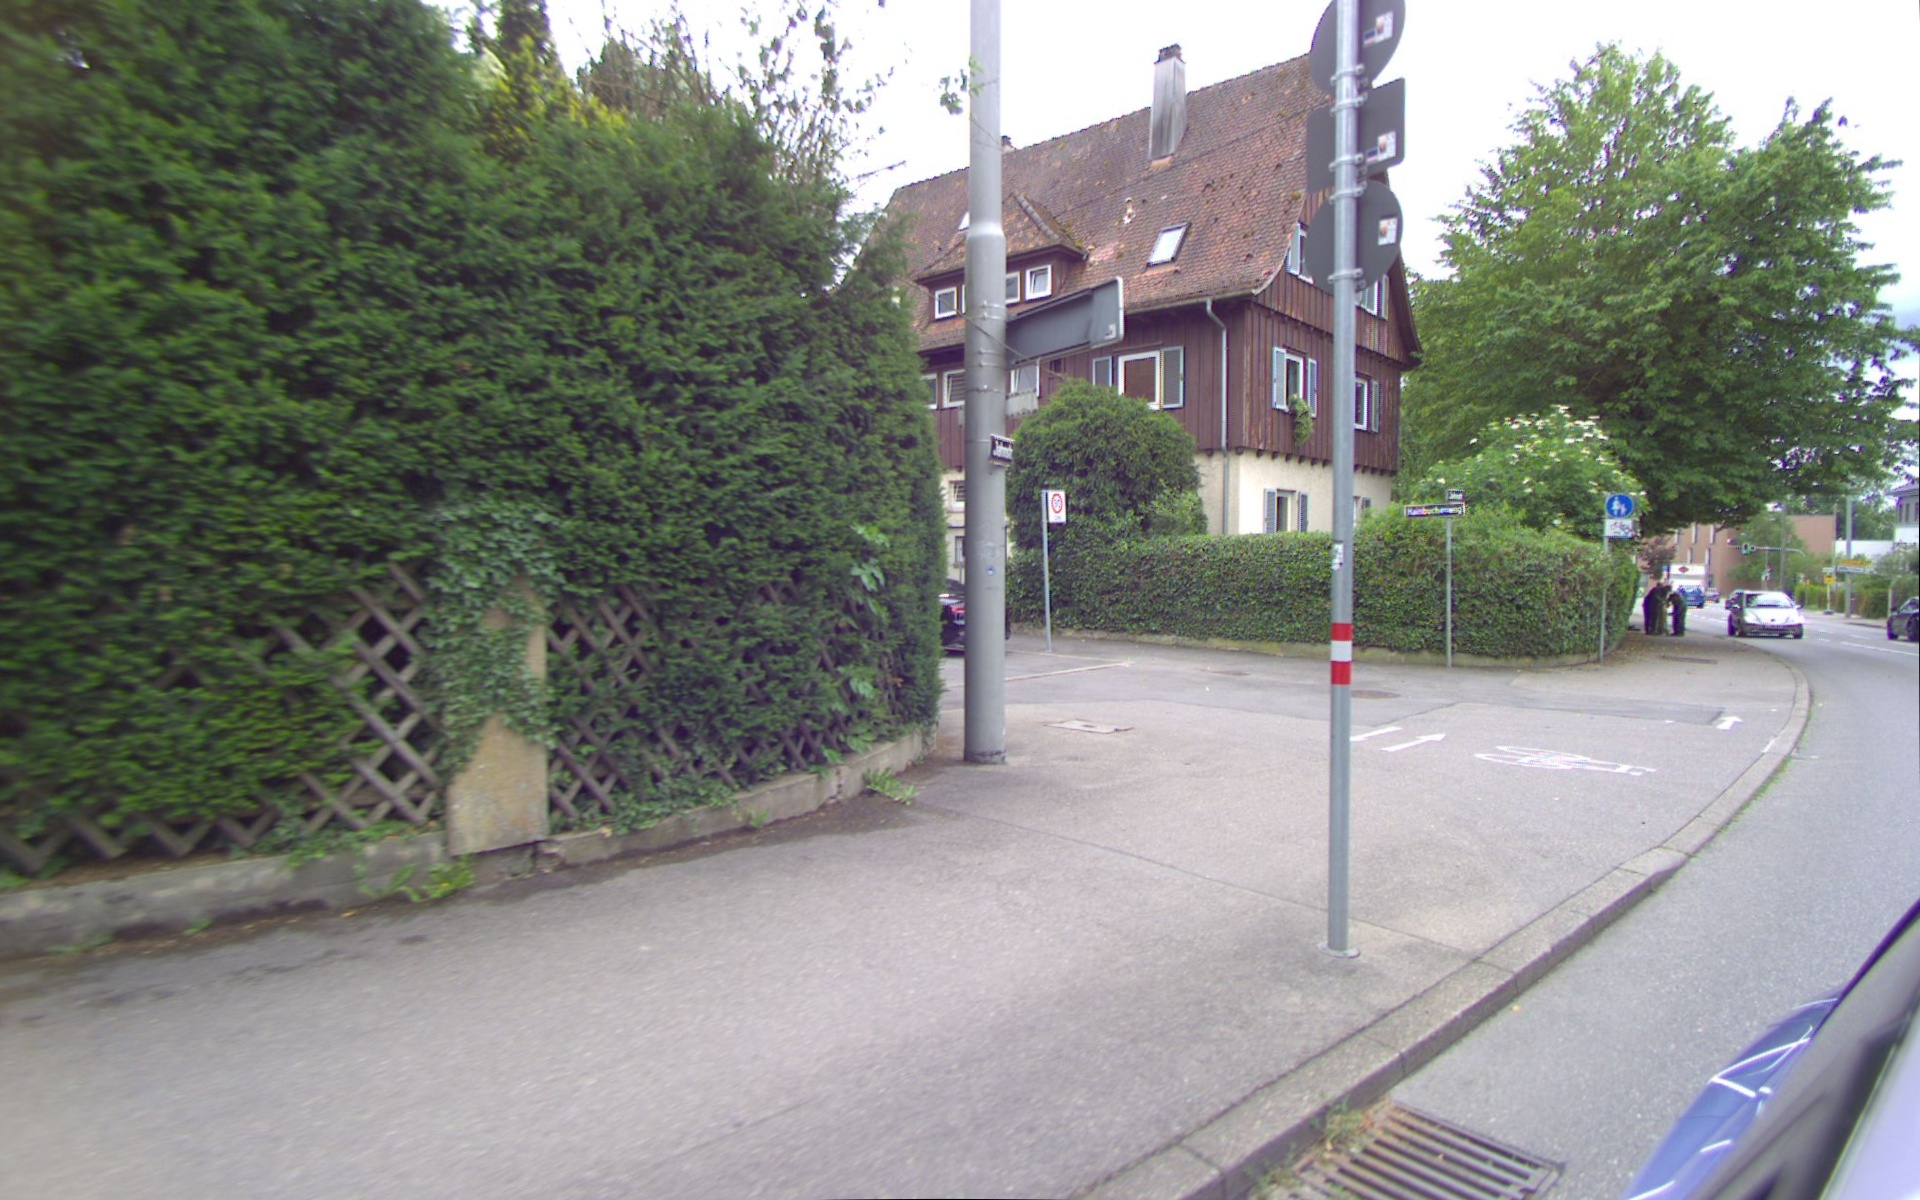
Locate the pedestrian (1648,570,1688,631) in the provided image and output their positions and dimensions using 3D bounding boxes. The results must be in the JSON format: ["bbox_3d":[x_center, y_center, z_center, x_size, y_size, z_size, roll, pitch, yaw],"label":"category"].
[{"bbox_3d":[21.691,-0.001,31.019,0.676,1.829,0.674,1,1,-10],"label":"pedestrian"}]

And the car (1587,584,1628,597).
[{"bbox_3d":[89.520,-1.325,139.939,4.361,1.577,1.996,2,1,8],"label":"car"}]

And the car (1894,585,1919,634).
[{"bbox_3d":[30.905,0.286,31.639,1.749,1.457,4.047,-1,1,32],"label":"car"}]

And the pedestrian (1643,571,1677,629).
[{"bbox_3d":[22.691,-0.014,32.822,0.803,1.829,0.733,2,1,31],"label":"pedestrian"}]

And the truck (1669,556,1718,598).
[{"bbox_3d":[64.557,-2.085,89.253,2.765,3.503,7.413,2,3,31],"label":"truck"}]

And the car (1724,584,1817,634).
[{"bbox_3d":[28.100,0.263,35.209,1.984,1.616,3.956,1,1,31],"label":"car"}]

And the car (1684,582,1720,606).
[{"bbox_3d":[56.383,-0.458,76.945,1.797,1.738,4.330,1,1,31],"label":"car"}]

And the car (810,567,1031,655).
[{"bbox_3d":[-0.825,0.138,18.995,3.989,1.460,1.968,2,2,45],"label":"car"}]

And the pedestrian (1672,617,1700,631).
[{"bbox_3d":[23.821,0.778,33.221,0.669,0.398,0.733,2,2,30],"label":"pedestrian"}]

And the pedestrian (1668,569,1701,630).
[{"bbox_3d":[22.102,-0.014,30.876,0.508,1.829,0.603,1,1,-18],"label":"pedestrian"}]
